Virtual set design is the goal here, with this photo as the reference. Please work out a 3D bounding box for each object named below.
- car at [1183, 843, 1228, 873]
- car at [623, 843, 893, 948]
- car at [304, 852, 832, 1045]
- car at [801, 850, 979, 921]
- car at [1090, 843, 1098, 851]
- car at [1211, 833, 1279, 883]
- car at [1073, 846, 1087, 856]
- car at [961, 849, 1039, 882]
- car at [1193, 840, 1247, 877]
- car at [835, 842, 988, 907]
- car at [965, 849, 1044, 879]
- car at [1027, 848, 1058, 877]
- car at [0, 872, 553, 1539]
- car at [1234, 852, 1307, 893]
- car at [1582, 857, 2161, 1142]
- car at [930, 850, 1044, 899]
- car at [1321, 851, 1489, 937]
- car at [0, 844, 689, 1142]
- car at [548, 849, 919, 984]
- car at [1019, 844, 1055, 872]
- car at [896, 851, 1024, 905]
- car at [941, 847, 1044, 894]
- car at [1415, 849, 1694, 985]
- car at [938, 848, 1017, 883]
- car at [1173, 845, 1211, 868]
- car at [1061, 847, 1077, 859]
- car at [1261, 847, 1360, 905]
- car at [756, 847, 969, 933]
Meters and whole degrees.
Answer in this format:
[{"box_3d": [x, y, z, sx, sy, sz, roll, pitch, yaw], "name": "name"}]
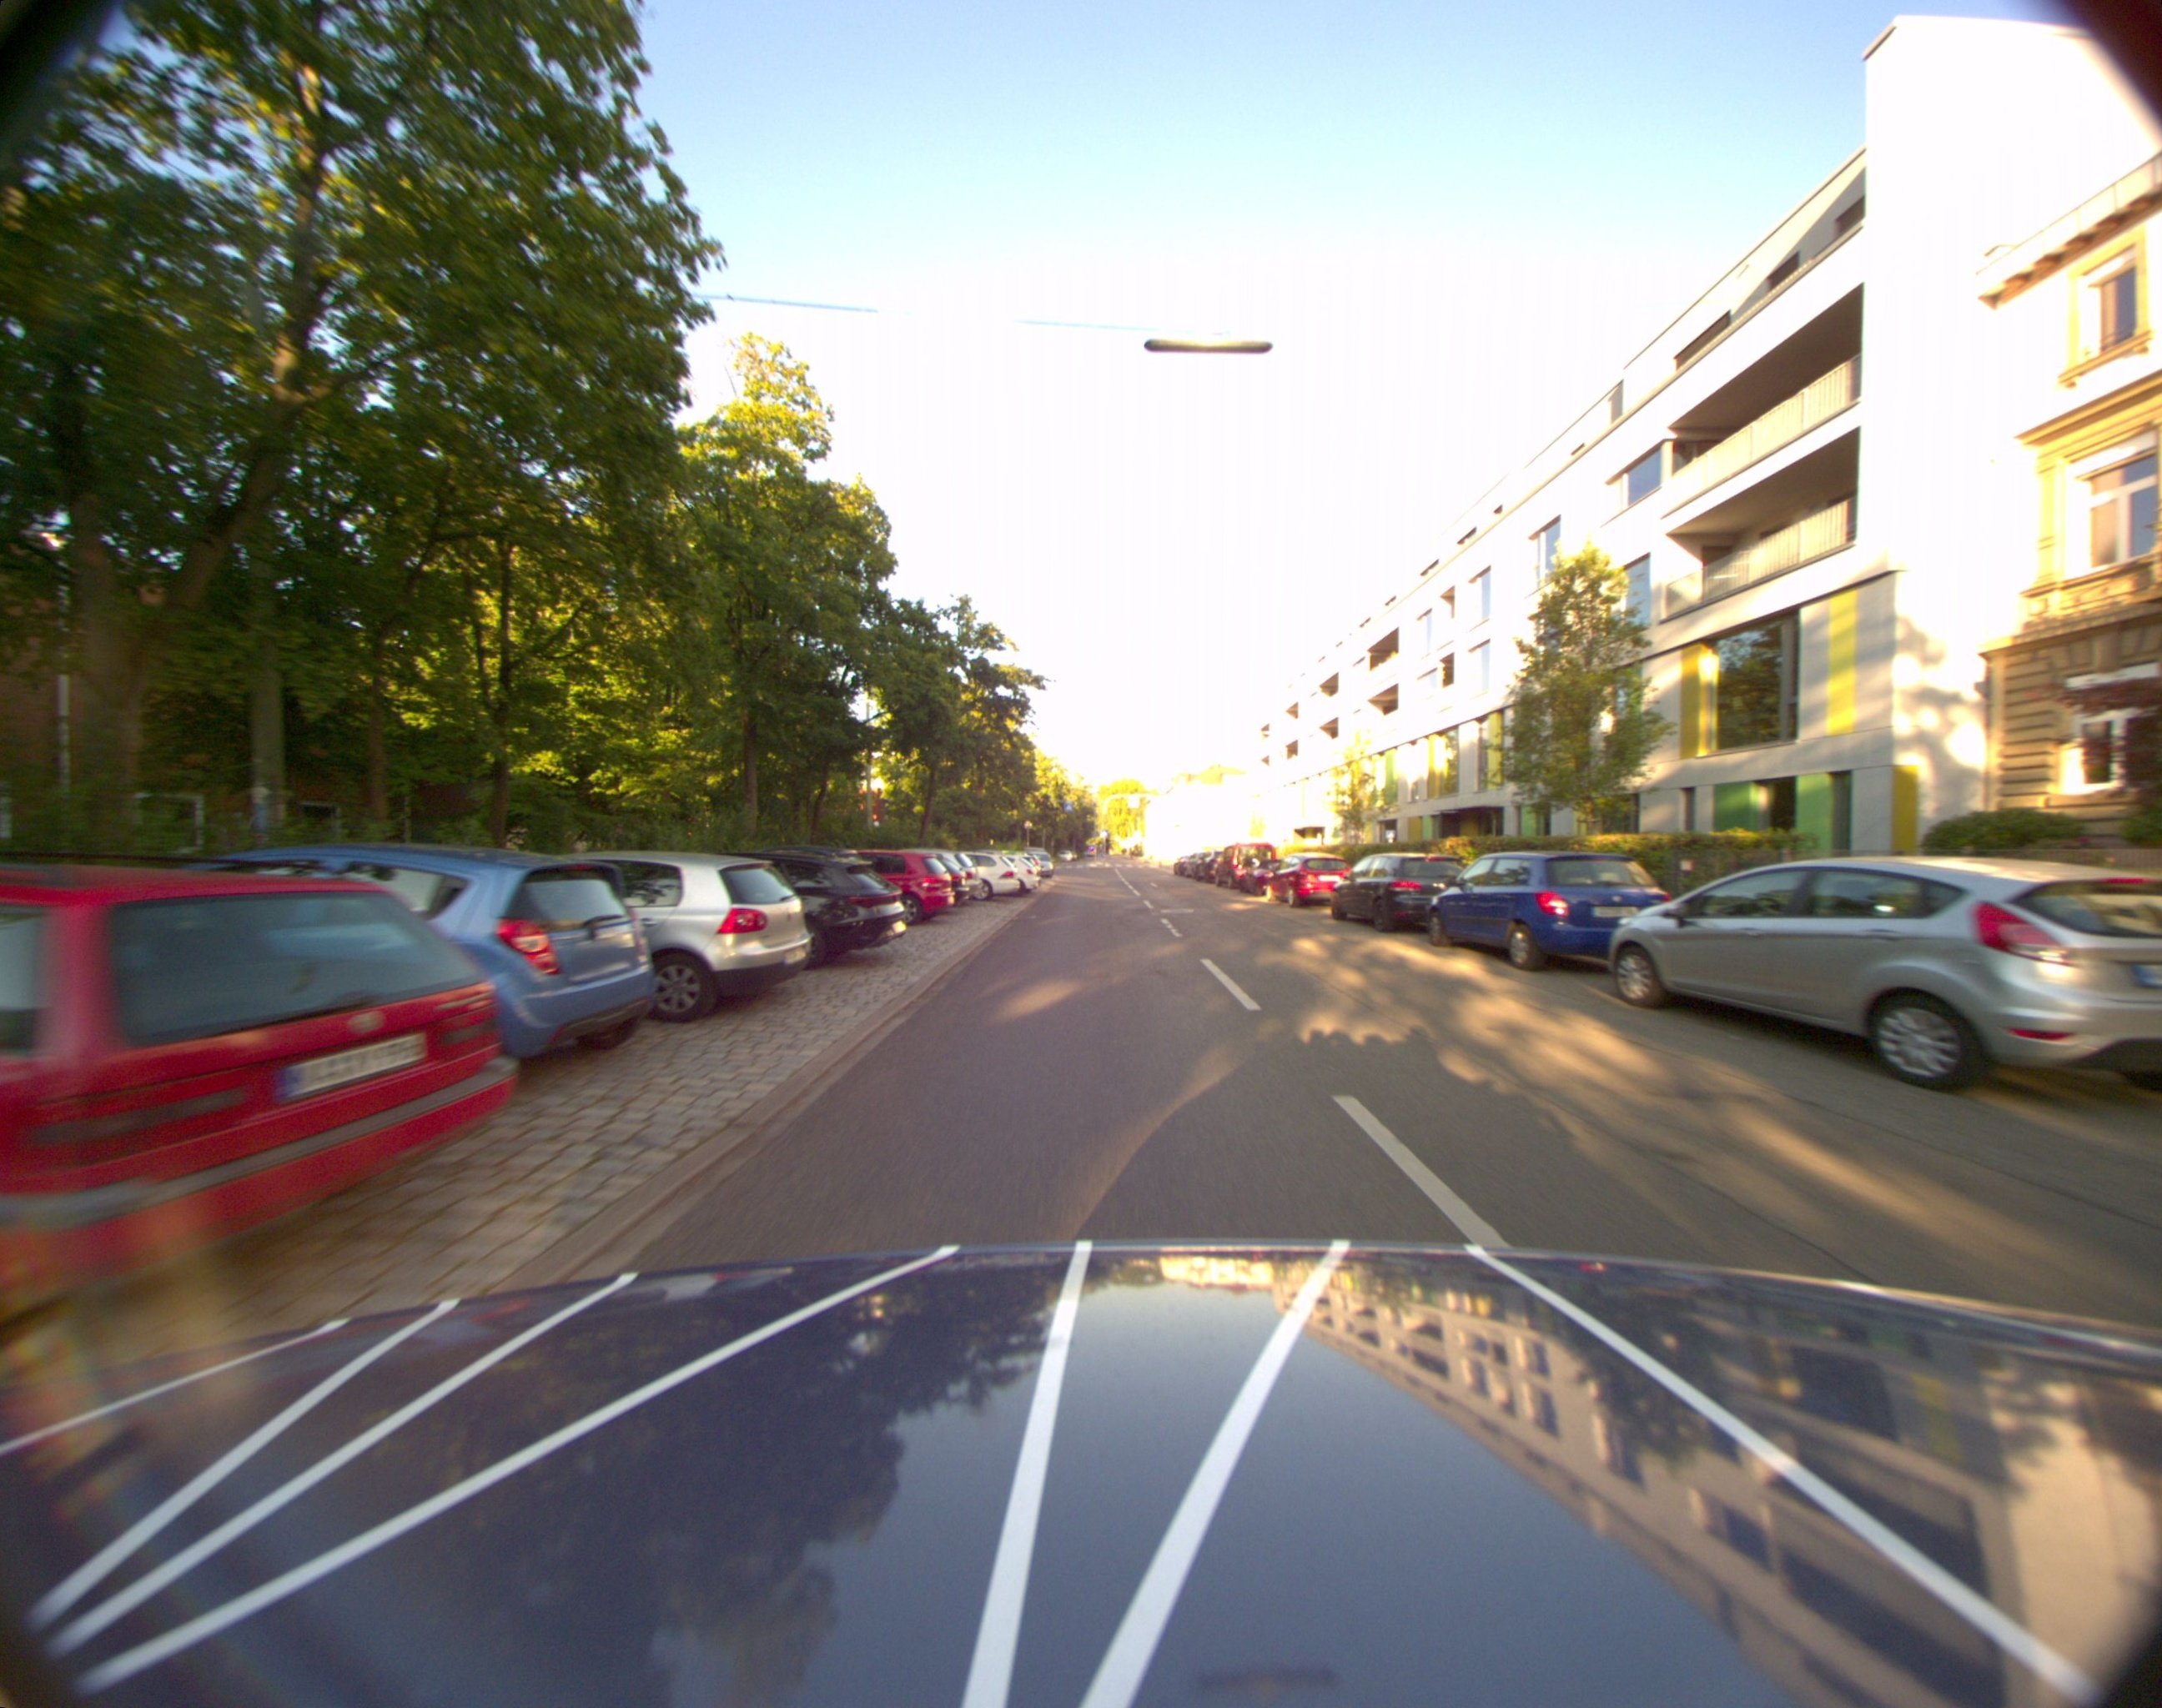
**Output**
[{"box_3d": [6.855, 0.191, 42.176, 1.746, 1.525, 4.115, 0, 1, -1], "name": "car"}, {"box_3d": [-5.437, 0.647, 13.135, 3.816, 1.466, 1.832, 3, 1, 2], "name": "car"}, {"box_3d": [-4.745, 0.802, 7.453, 3.933, 1.446, 1.832, 3, 1, 2], "name": "car"}, {"box_3d": [-4.508, 0.718, 18.279, 3.758, 1.387, 1.756, 3, 2, 1], "name": "car"}, {"box_3d": [3.451, -1.772, 200.273, 2.228, 2.002, 4.890, 1, 1, 2], "name": "car"}, {"box_3d": [6.612, 0.146, 31.027, 1.812, 1.878, 4.237, 1, 0, 0], "name": "car"}, {"box_3d": [-0.087, -0.419, 108.177, 1.752, 1.478, 4.509, 0, 1, 3], "name": "car"}, {"box_3d": [-3.961, 0.555, 37.548, 3.635, 1.531, 1.671, -1, 1, 1], "name": "car"}, {"box_3d": [6.571, 0.190, 36.437, 1.746, 1.666, 4.416, 1, 0, 0], "name": "car"}, {"box_3d": [-4.579, 0.529, 20.905, 3.734, 1.490, 1.820, 3, 2, 1], "name": "car"}, {"box_3d": [-3.999, 0.515, 40.030, 3.959, 1.503, 1.739, 1, 1, 0], "name": "car"}, {"box_3d": [-2.283, 0.449, 44.301, 1.655, 1.558, 4.299, 1, 0, -4], "name": "car"}, {"box_3d": [-4.691, 0.835, 2.704, 4.349, 1.466, 1.742, 3, 0, 0], "name": "car"}, {"box_3d": [6.439, 0.595, 26.168, 1.560, 1.272, 3.732, 1, 0, 0], "name": "car"}, {"box_3d": [5.988, 0.803, 5.967, 1.605, 1.485, 3.772, 1, 0, 1], "name": "car"}, {"box_3d": [-3.179, 0.668, 26.225, 3.676, 1.436, 1.734, 3, 1, -1], "name": "car"}, {"box_3d": [6.260, 0.687, 15.197, 1.602, 1.447, 4.054, 1, 0, 0], "name": "car"}, {"box_3d": [-4.996, 0.794, 5.150, 3.722, 1.547, 1.741, 3, 1, -3], "name": "car"}, {"box_3d": [-4.470, 0.769, 10.265, 4.131, 1.466, 1.831, 3, 1, -1], "name": "car"}, {"box_3d": [-2.966, 0.238, 50.408, 1.928, 1.738, 4.661, 0, 1, -9], "name": "car"}, {"box_3d": [-3.657, 0.711, 23.452, 3.675, 1.544, 1.734, 1, 1, -1], "name": "car"}, {"box_3d": [-3.271, 0.602, 28.543, 3.619, 1.517, 1.671, 3, 1, -1], "name": "car"}, {"box_3d": [6.174, 0.702, 10.480, 1.602, 1.499, 3.787, 1, 0, 3], "name": "car"}, {"box_3d": [-4.719, 0.521, 35.016, 3.393, 1.517, 1.671, 1, 1, 1], "name": "car"}, {"box_3d": [6.760, 0.133, 46.719, 1.746, 1.349, 4.396, 1, 1, 1], "name": "car"}, {"box_3d": [-1.543, -0.163, 100.930, 1.751, 1.478, 4.177, 0, 1, 4], "name": "car"}, {"box_3d": [6.341, 0.555, 21.387, 1.602, 1.447, 3.861, 0, 1, 0], "name": "car"}, {"box_3d": [-4.401, 0.692, 15.726, 3.816, 1.466, 1.756, 3, 1, 1], "name": "car"}]
